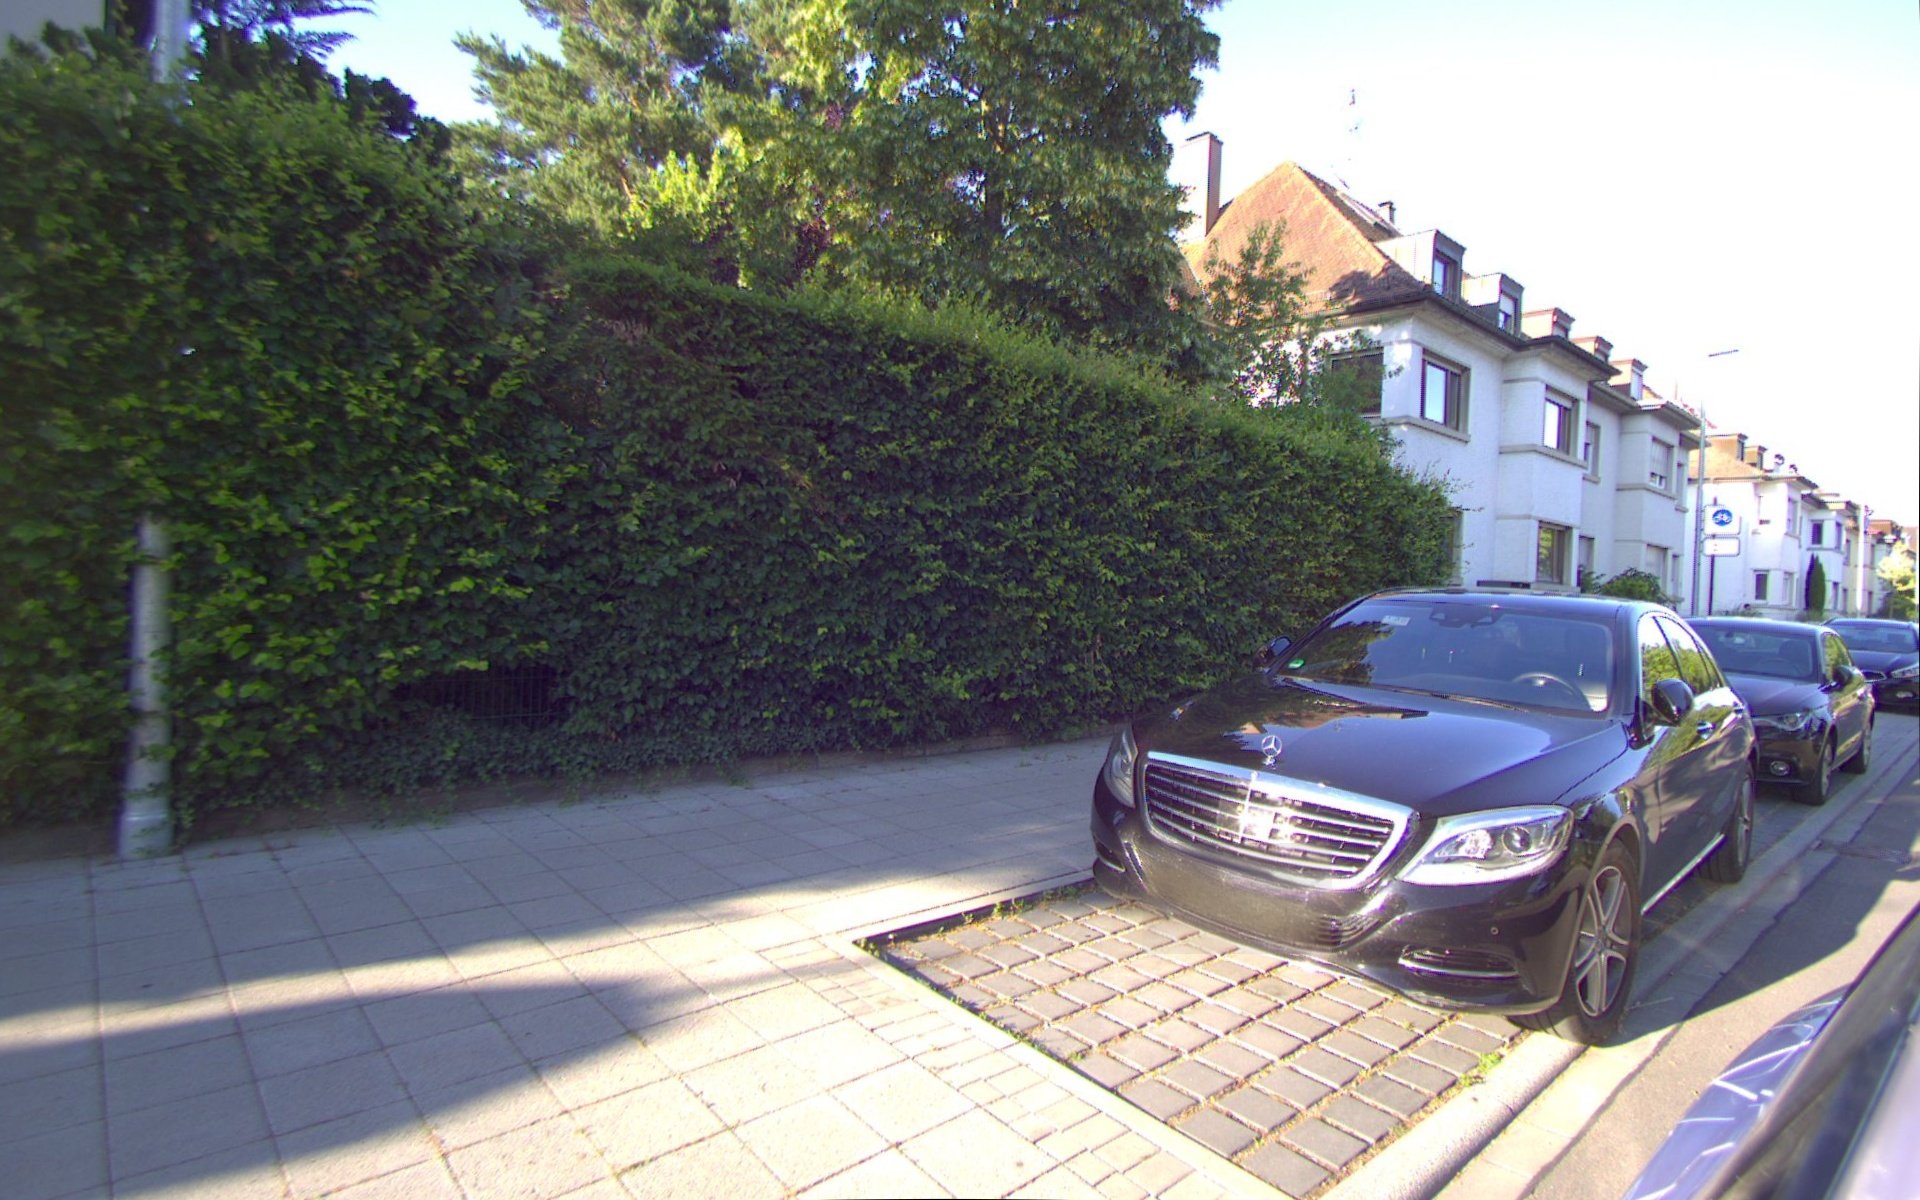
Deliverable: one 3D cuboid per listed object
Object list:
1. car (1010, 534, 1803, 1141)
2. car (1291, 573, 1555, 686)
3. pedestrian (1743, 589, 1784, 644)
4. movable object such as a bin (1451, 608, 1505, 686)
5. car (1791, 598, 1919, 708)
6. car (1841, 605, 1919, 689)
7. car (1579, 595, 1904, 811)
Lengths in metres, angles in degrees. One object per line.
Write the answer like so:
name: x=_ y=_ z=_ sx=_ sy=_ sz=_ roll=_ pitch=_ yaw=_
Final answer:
car: x=2.587 y=0.604 z=4.992 sx=4.792 sy=1.561 sz=1.861 roll=1 pitch=3 yaw=-44
car: x=7.761 y=0.419 z=17.161 sx=3.637 sy=1.514 sz=1.752 roll=5 pitch=3 yaw=45
pedestrian: x=30.915 y=0.629 z=38.971 sx=1.081 sy=2.039 sz=0.856 roll=2 pitch=1 yaw=33
movable object such as a bin: x=7.371 y=0.656 z=14.404 sx=0.507 sy=1.056 sz=0.649 roll=2 pitch=0 yaw=42
car: x=15.485 y=0.825 z=16.981 sx=4.183 sy=1.492 sz=1.750 roll=1 pitch=5 yaw=-43
car: x=19.330 y=0.928 z=20.540 sx=3.916 sy=1.489 sz=1.721 roll=1 pitch=4 yaw=-43
car: x=7.196 y=0.759 z=9.180 sx=3.869 sy=1.445 sz=1.644 roll=1 pitch=3 yaw=-43
